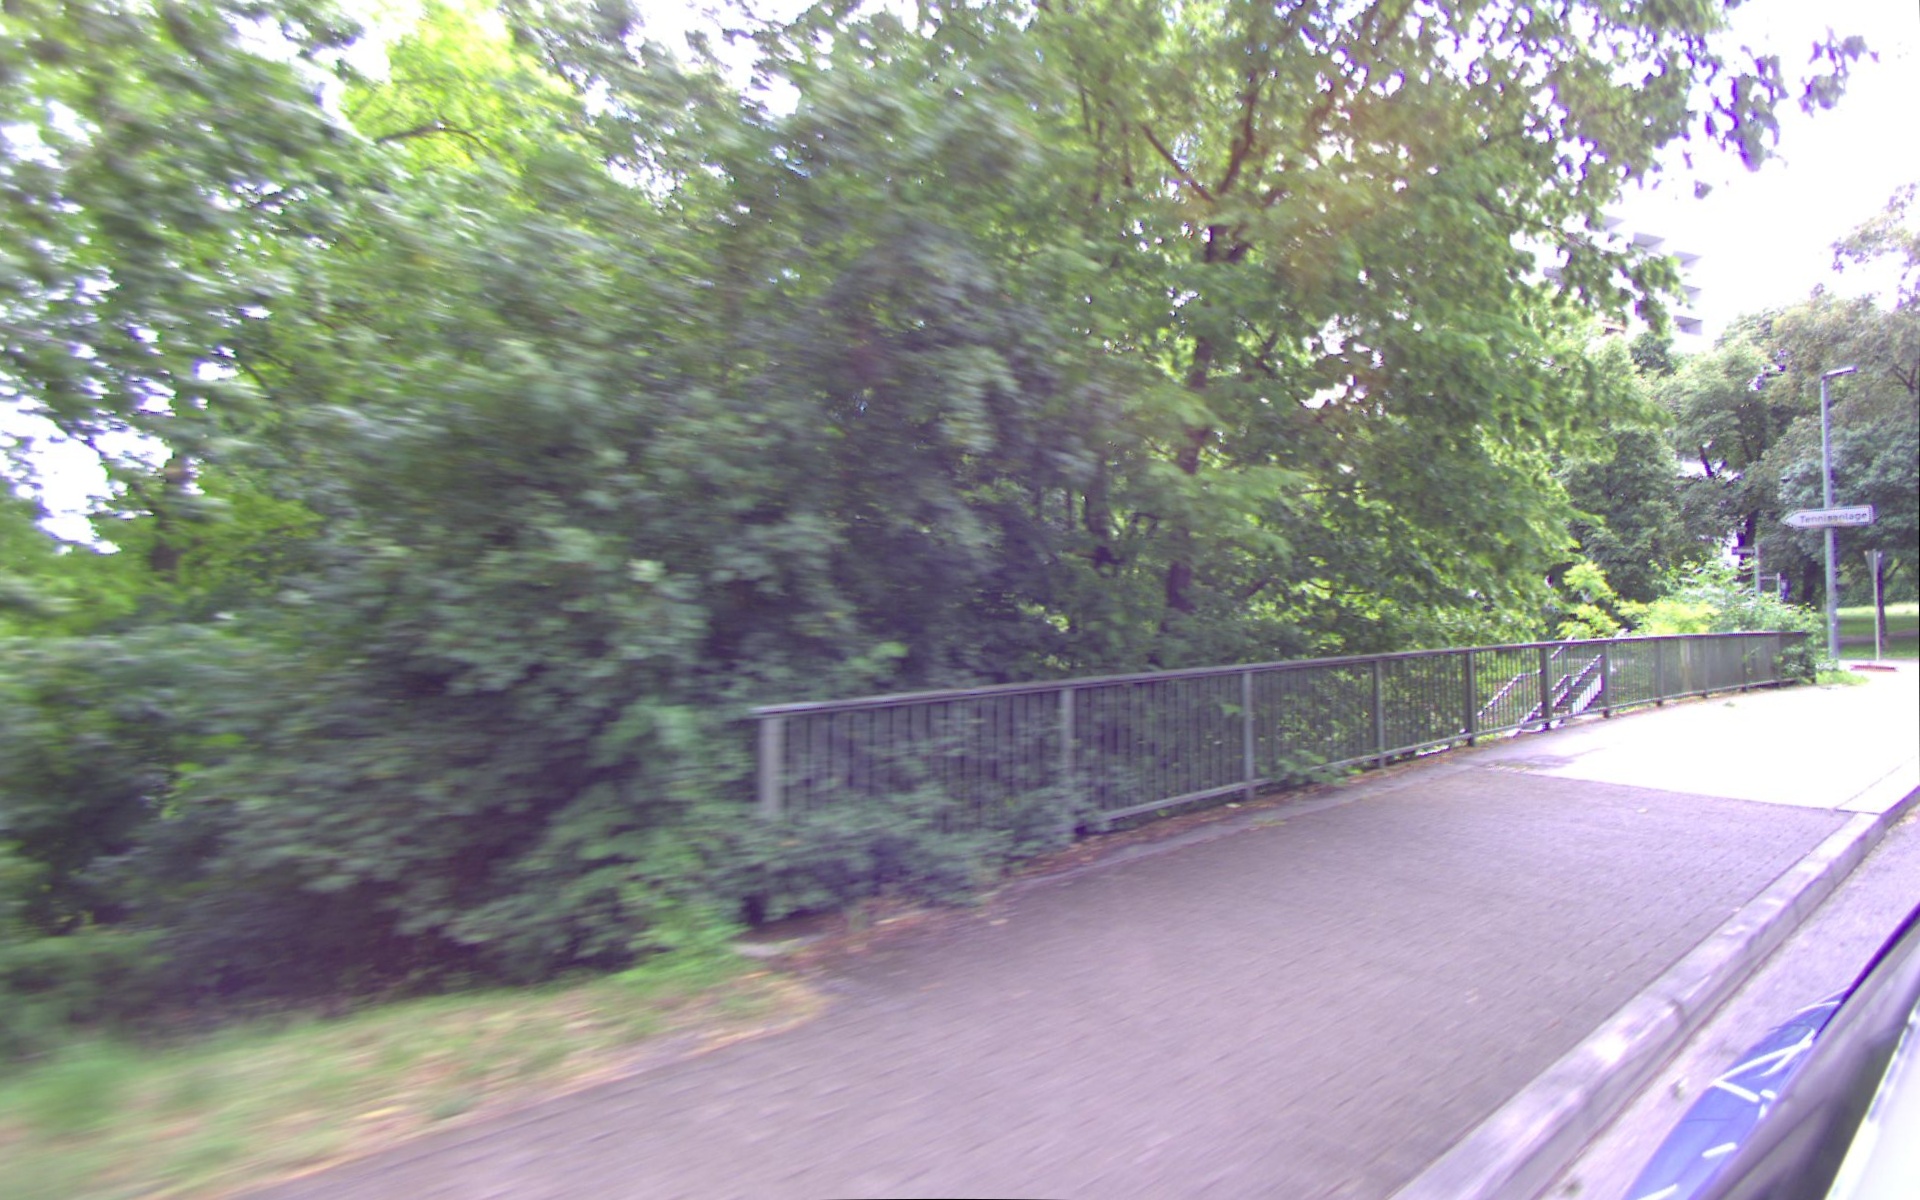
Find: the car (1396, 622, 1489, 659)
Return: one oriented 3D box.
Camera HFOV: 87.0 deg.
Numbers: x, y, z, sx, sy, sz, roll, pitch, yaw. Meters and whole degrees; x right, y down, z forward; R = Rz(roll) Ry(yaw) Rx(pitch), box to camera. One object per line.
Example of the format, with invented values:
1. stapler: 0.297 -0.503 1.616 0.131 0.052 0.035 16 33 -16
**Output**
1. car: 21.900 1.821 46.055 1.794 1.590 3.534 -1 -2 -19
